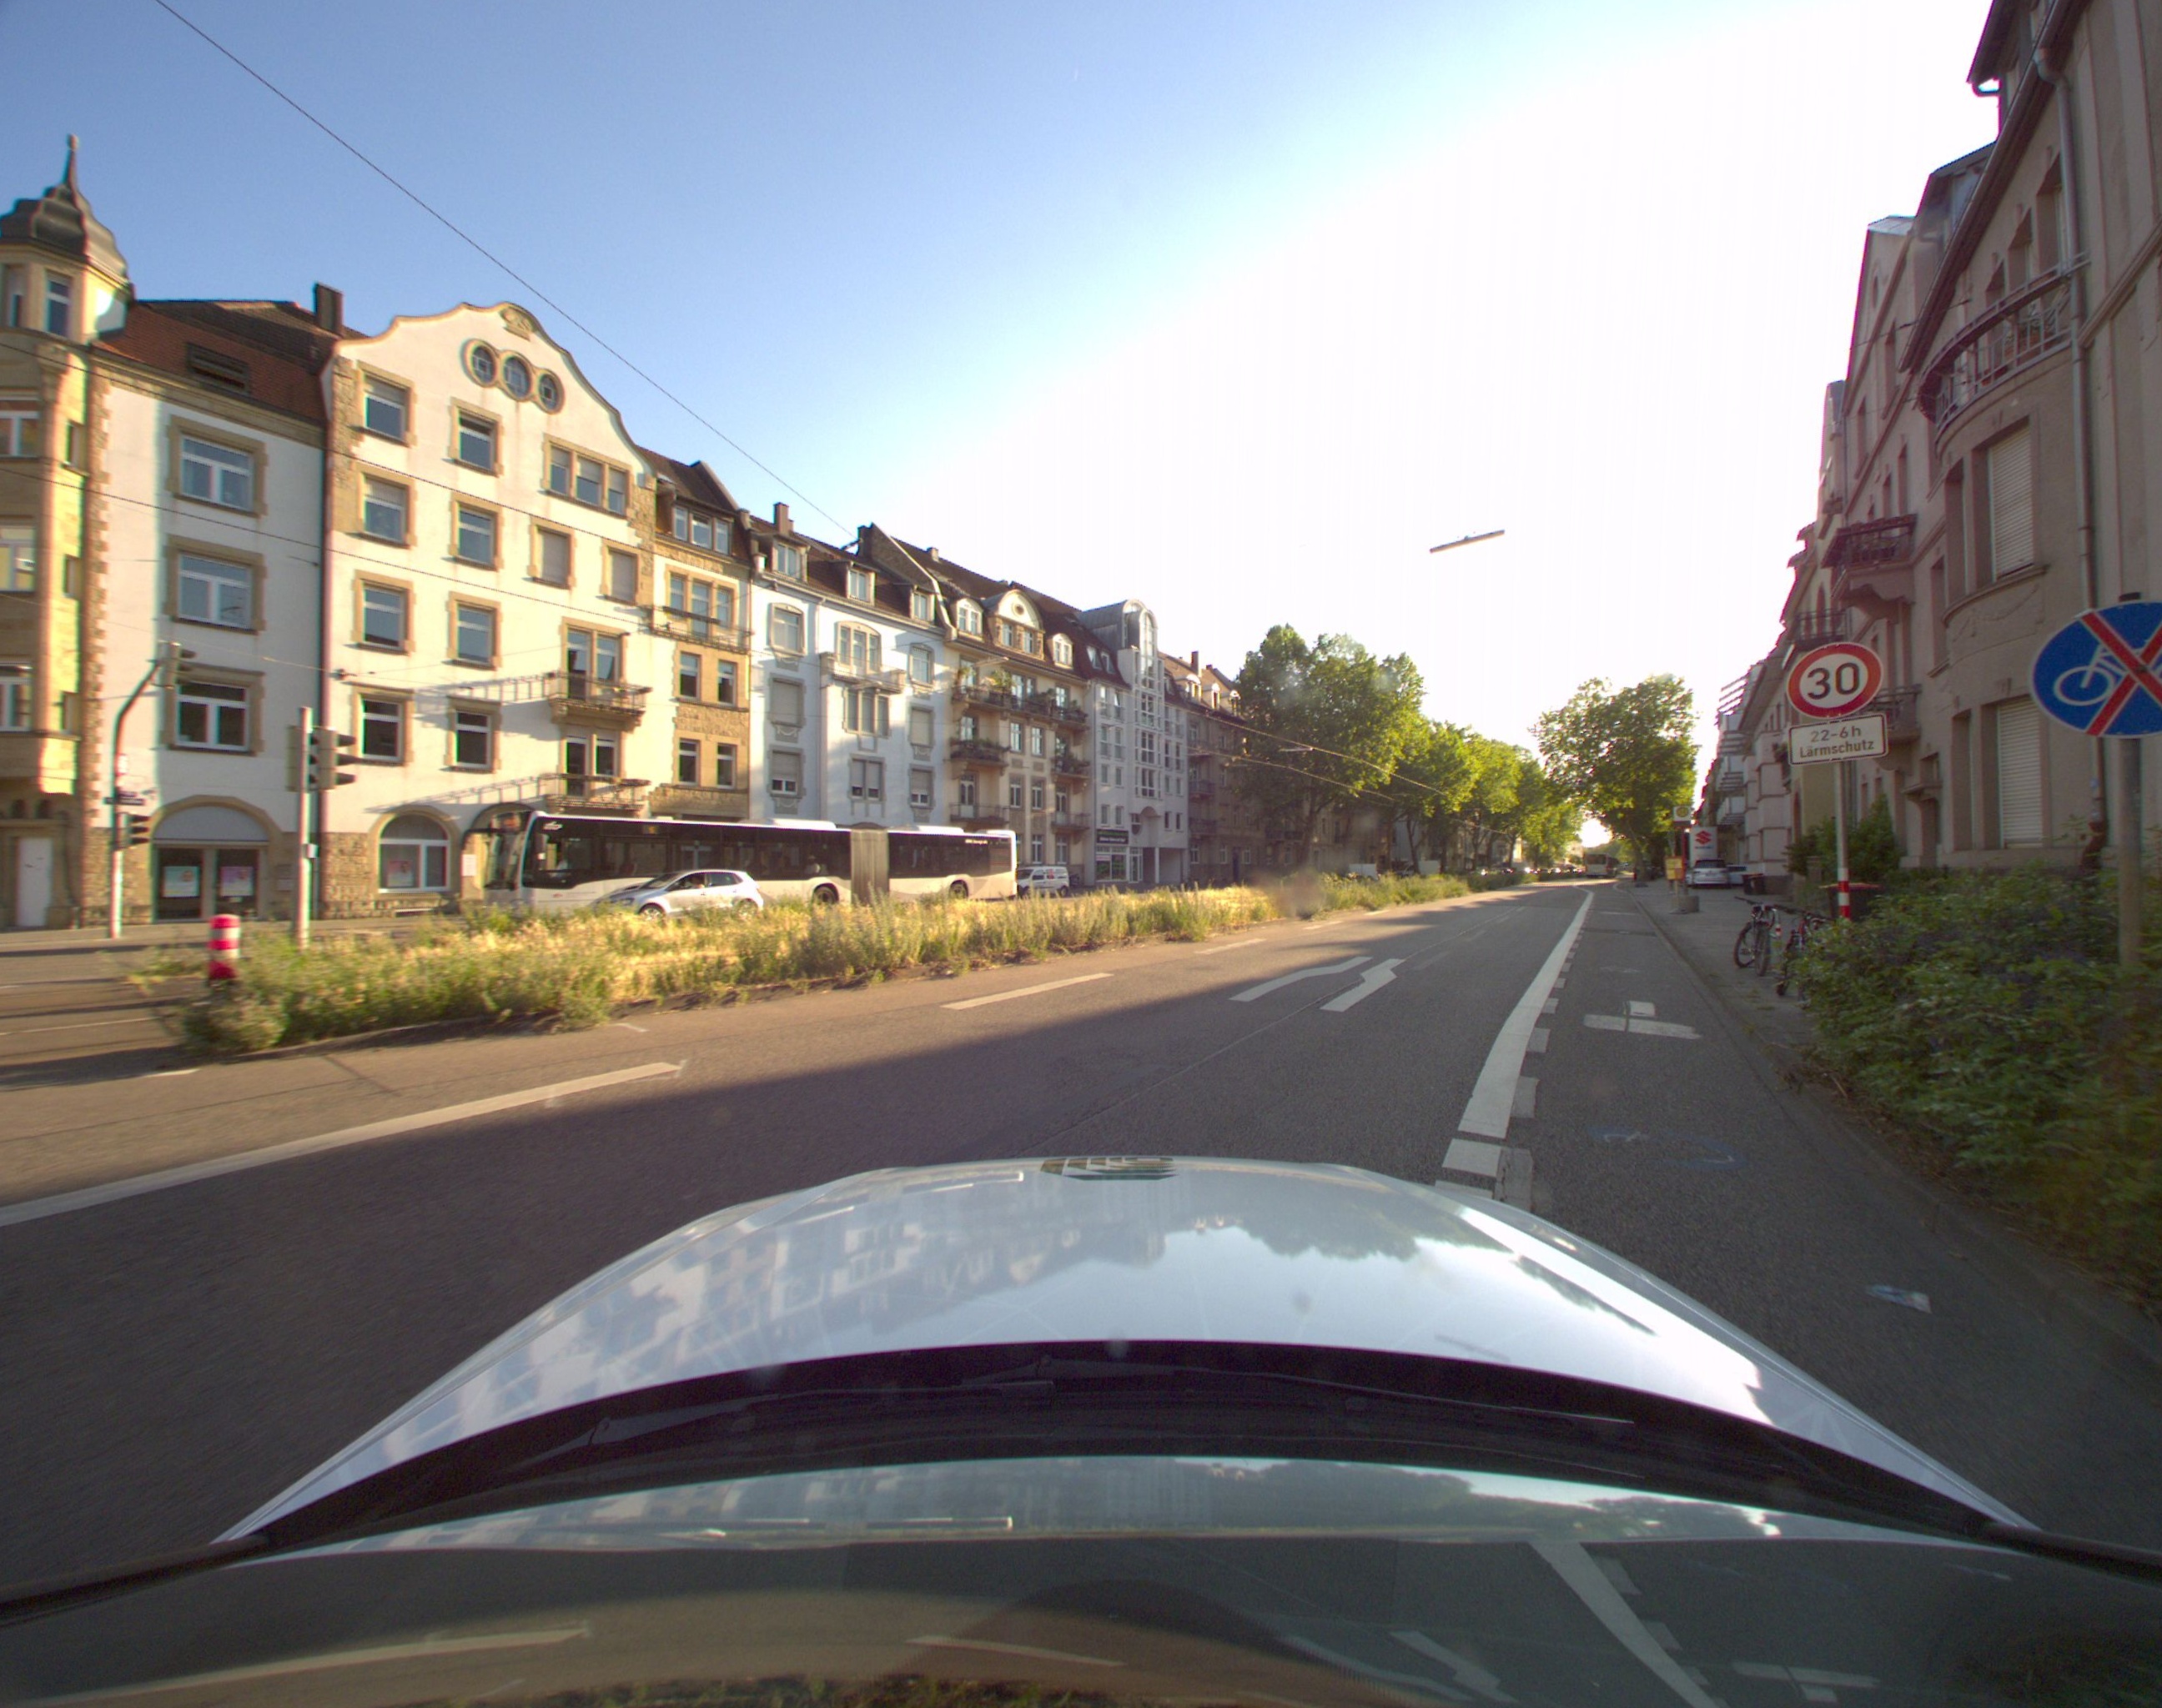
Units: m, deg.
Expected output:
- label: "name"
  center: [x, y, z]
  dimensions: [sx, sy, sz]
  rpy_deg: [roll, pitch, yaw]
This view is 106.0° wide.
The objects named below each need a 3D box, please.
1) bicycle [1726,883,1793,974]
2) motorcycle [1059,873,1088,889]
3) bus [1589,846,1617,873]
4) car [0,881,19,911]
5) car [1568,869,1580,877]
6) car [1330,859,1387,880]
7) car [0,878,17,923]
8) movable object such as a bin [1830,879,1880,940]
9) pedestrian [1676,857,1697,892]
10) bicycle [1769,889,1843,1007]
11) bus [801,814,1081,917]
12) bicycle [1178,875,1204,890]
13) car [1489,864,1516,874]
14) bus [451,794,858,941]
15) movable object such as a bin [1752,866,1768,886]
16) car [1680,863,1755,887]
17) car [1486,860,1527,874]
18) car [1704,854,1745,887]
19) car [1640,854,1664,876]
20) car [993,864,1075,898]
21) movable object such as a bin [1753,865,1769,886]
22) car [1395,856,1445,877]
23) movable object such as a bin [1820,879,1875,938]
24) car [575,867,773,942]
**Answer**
- label: "bicycle"
  center: [9.316, 0.972, 11.224]
  dimensions: [0.432, 1.098, 1.944]
  rpy_deg: [-1, -1, 32]
- label: "motorcycle"
  center: [-0.493, 1.762, 53.946]
  dimensions: [0.523, 1.021, 2.435]
  rpy_deg: [2, 1, 35]
- label: "bus"
  center: [67.452, 0.799, 105.148]
  dimensions: [2.806, 3.236, 8.233]
  rpy_deg: [-1, -2, 34]
- label: "car"
  center: [-66.067, 2.504, 49.141]
  dimensions: [3.950, 1.746, 1.846]
  rpy_deg: [-2, -2, 45]
- label: "car"
  center: [113.142, 4.379, 186.876]
  dimensions: [1.851, 1.694, 4.806]
  rpy_deg: [-1, -2, 35]
- label: "car"
  center: [27.990, 1.586, 82.229]
  dimensions: [5.222, 2.066, 1.718]
  rpy_deg: [0, -1, -6]
- label: "car"
  center: [-41.453, 1.719, 30.385]
  dimensions: [3.949, 1.615, 1.847]
  rpy_deg: [-1, -2, 41]
- label: "movable object such as a bin"
  center: [13.714, 0.968, 14.427]
  dimensions: [0.662, 1.046, 0.564]
  rpy_deg: [2, -3, -41]
- label: "pedestrian"
  center: [31.870, 1.099, 42.899]
  dimensions: [0.820, 1.813, 1.157]
  rpy_deg: [-1, -2, 35]
- label: "bicycle"
  center: [7.637, 0.932, 8.623]
  dimensions: [0.366, 1.068, 1.886]
  rpy_deg: [-1, -1, 36]
- label: "bus"
  center: [-4.909, 0.553, 32.444]
  dimensions: [3.223, 3.374, 12.052]
  rpy_deg: [-1, -2, 37]
- label: "bicycle"
  center: [8.087, 2.084, 59.811]
  dimensions: [1.904, 1.032, 0.751]
  rpy_deg: [2, 3, -40]
- label: "car"
  center: [76.983, 2.738, 148.652]
  dimensions: [3.968, 1.699, 1.858]
  rpy_deg: [-2, -2, 5]
- label: "bus"
  center: [-11.626, 0.458, 23.647]
  dimensions: [3.234, 3.374, 9.960]
  rpy_deg: [-1, -2, 37]
- label: "movable object such as a bin"
  center: [32.788, 1.053, 39.306]
  dimensions: [0.548, 0.969, 0.588]
  rpy_deg: [-1, -2, 38]
- label: "car"
  center: [42.912, 1.419, 55.049]
  dimensions: [3.774, 1.501, 1.925]
  rpy_deg: [-1, 0, 31]
- label: "car"
  center: [84.765, 2.568, 162.207]
  dimensions: [6.885, 2.678, 2.194]
  rpy_deg: [0, -2, 16]
- label: "car"
  center: [40.419, 1.067, 51.134]
  dimensions: [1.874, 1.949, 4.931]
  rpy_deg: [-1, -2, 39]
- label: "car"
  center: [60.105, 1.226, 85.730]
  dimensions: [1.974, 2.257, 5.268]
  rpy_deg: [-1, -2, 35]
- label: "car"
  center: [-2.511, 1.484, 44.938]
  dimensions: [1.886, 1.787, 4.682]
  rpy_deg: [-1, -2, 38]
- label: "movable object such as a bin"
  center: [32.398, 1.022, 38.813]
  dimensions: [0.548, 0.969, 0.588]
  rpy_deg: [-1, -2, 38]
- label: "car"
  center: [42.842, 1.554, 102.918]
  dimensions: [5.483, 2.529, 2.122]
  rpy_deg: [0, -1, -6]
- label: "movable object such as a bin"
  center: [14.117, 0.991, 14.998]
  dimensions: [0.662, 1.046, 0.650]
  rpy_deg: [2, -2, -41]
- label: "car"
  center: [-10.190, 1.208, 20.636]
  dimensions: [1.911, 1.684, 4.025]
  rpy_deg: [-1, -2, 39]
